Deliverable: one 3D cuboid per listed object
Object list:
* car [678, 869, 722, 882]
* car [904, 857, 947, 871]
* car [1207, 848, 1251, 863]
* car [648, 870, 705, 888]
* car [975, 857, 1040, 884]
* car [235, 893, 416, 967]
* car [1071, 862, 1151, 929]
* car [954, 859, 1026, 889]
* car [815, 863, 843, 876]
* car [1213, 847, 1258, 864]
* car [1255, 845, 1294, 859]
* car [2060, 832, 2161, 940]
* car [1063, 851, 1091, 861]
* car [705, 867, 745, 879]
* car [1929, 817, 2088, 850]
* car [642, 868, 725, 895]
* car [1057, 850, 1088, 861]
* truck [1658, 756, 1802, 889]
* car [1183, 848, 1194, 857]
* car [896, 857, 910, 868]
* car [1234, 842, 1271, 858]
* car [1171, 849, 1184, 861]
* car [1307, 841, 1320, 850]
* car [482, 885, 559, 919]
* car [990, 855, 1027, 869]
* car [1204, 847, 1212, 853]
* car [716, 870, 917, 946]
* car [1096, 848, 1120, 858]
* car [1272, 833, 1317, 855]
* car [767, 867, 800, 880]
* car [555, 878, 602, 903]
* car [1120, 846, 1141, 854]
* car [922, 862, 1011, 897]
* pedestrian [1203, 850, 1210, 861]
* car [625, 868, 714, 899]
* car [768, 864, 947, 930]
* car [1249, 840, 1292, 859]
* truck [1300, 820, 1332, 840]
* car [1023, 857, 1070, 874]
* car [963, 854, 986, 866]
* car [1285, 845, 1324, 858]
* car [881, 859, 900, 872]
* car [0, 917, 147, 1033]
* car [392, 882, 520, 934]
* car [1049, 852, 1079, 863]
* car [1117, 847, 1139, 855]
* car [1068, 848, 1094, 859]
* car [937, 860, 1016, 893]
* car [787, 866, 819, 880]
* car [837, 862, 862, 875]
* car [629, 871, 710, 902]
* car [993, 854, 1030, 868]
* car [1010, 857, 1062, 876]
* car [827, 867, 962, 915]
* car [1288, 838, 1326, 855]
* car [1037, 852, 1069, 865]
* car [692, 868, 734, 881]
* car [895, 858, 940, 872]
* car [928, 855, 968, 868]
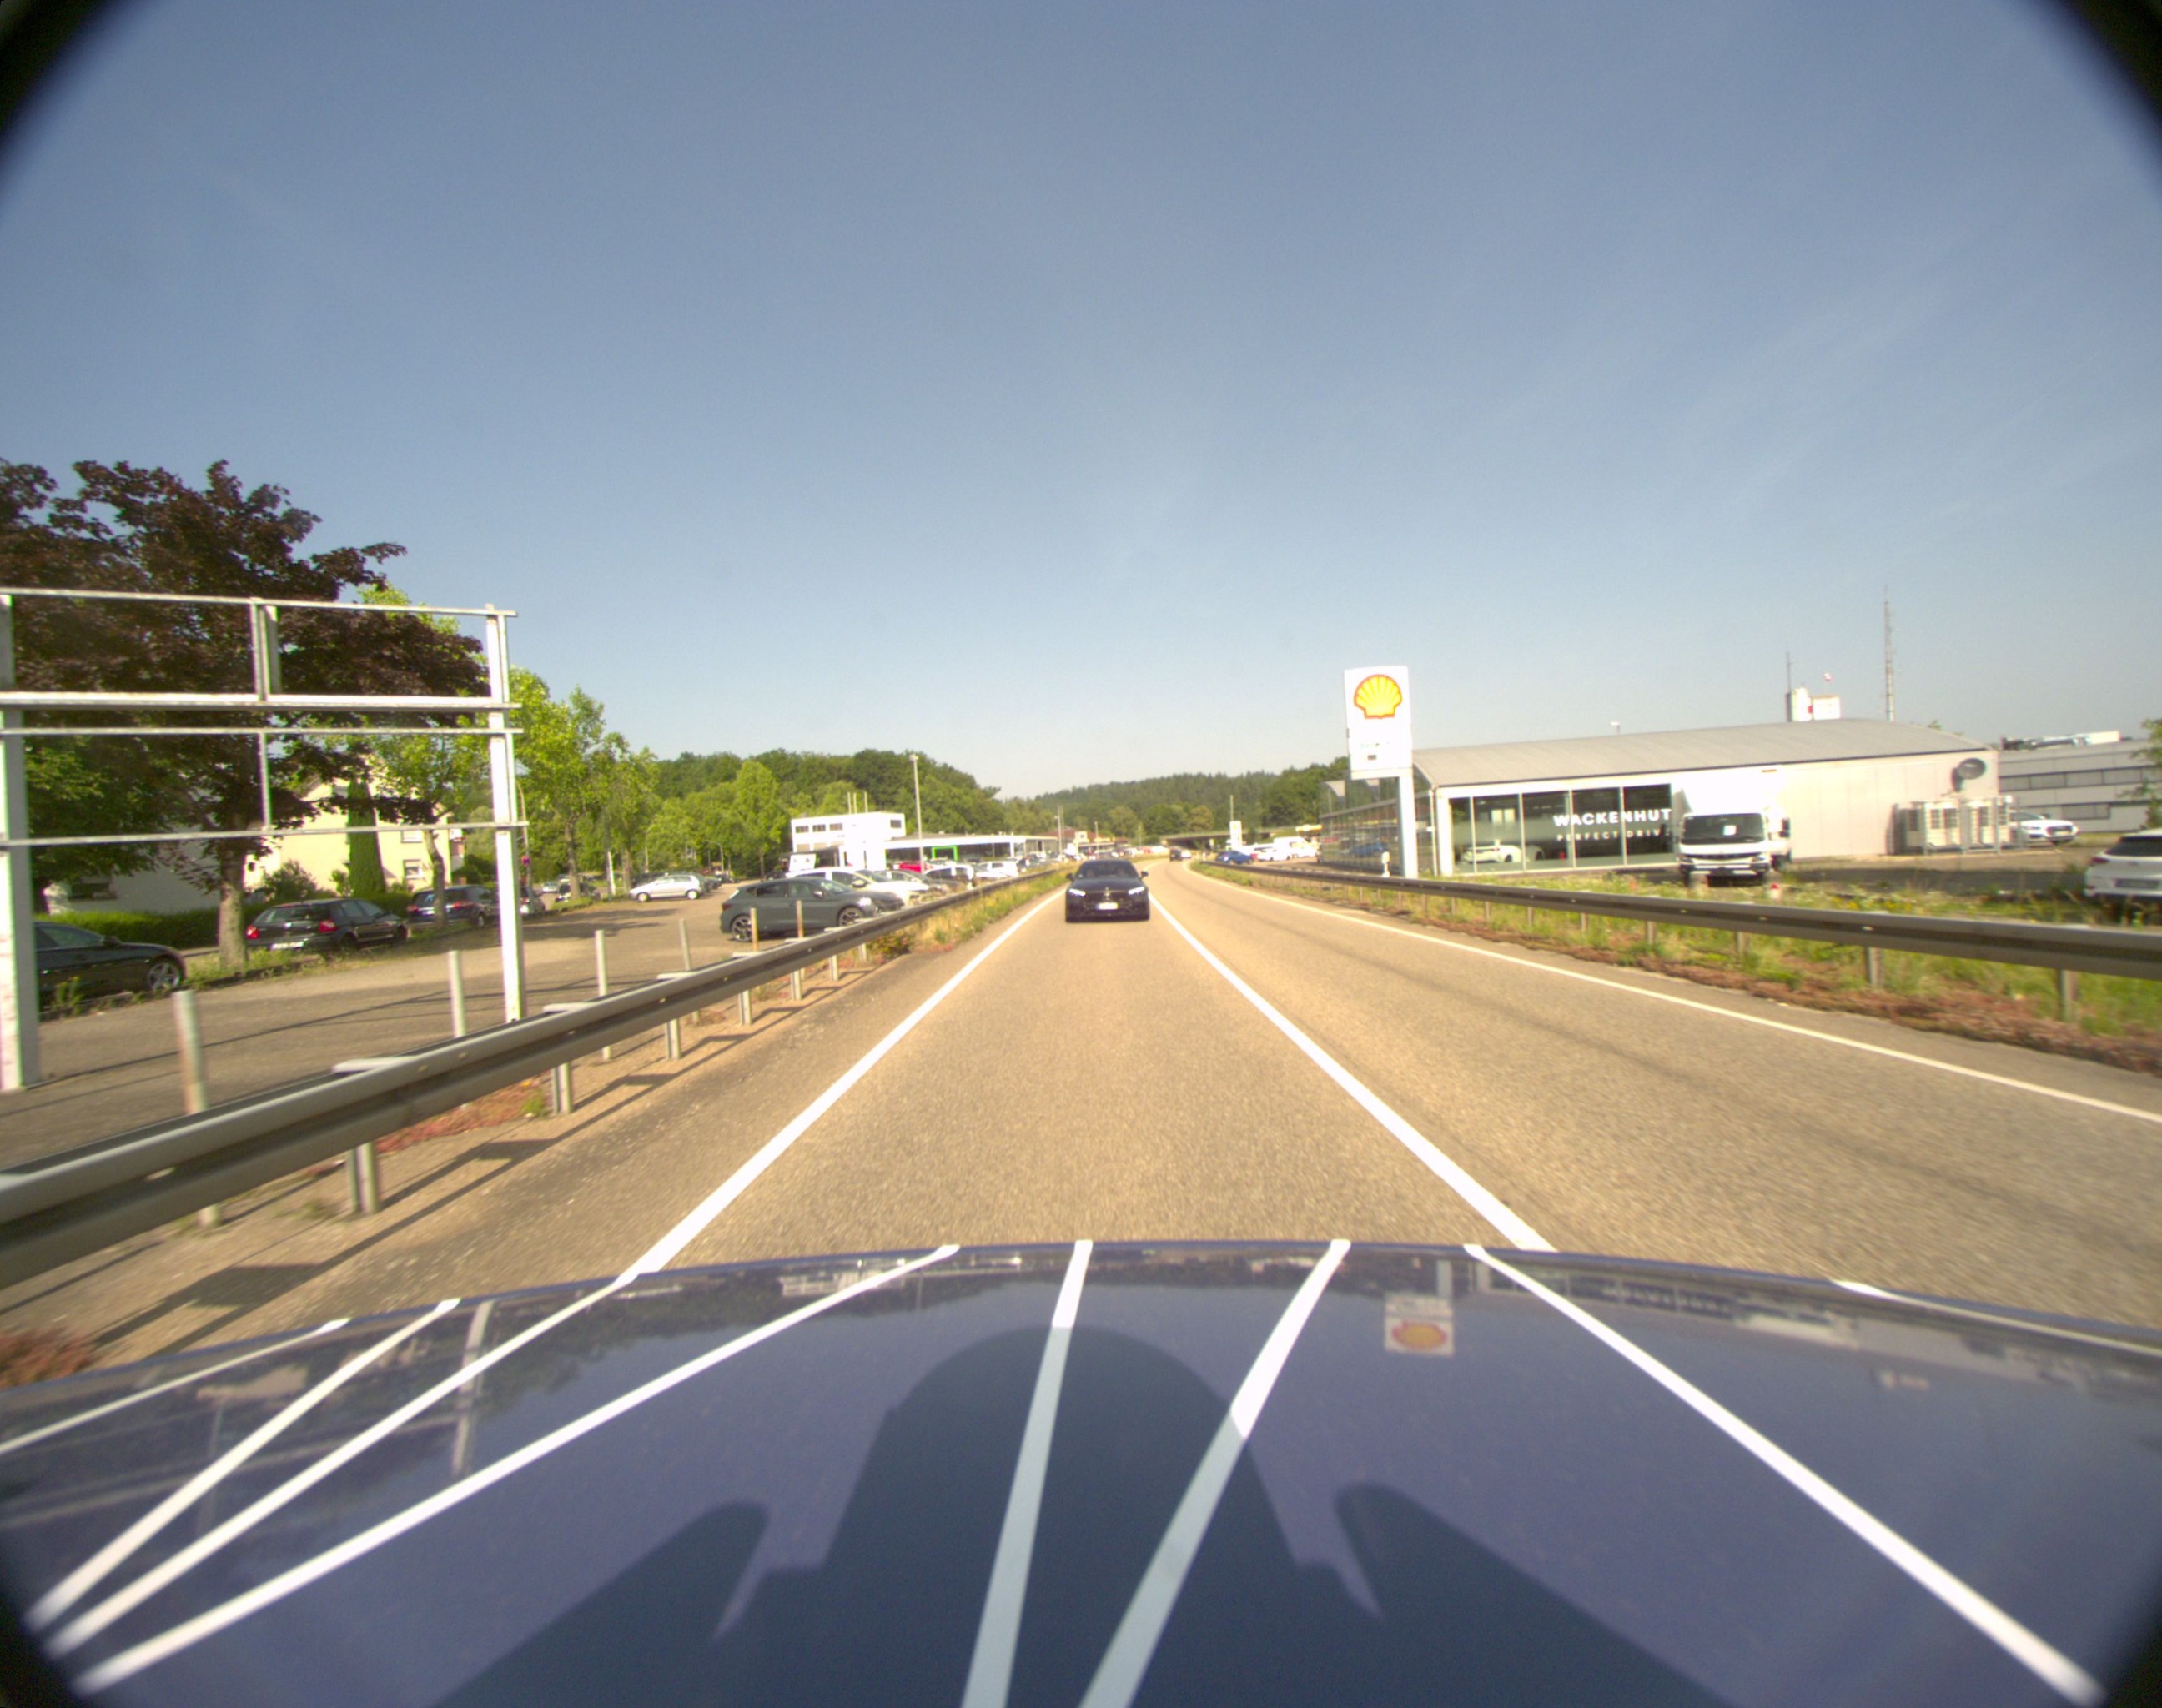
[{"bbox_3d":[-49.706,2.790,99.108,4.751,1.537,1.775,-2,1,-7],"label":"car"},{"bbox_3d":[-18.897,1.174,92.402,4.744,1.556,1.933,-1,1,11],"label":"car"},{"bbox_3d":[15.806,0.179,81.063,4.401,1.359,1.849,-2,0,-32],"label":"car"},{"bbox_3d":[-41.168,2.536,77.430,4.755,1.625,1.928,-2,1,-18],"label":"car"},{"bbox_3d":[-4.931,1.114,51.183,3.995,1.630,1.888,-2,1,5],"label":"car"},{"bbox_3d":[-18.249,1.766,18.594,1.657,1.358,3.656,-3,1,-19],"label":"car"},{"bbox_3d":[0.741,0.926,18.721,1.716,1.382,4.148,-1,0,2],"label":"car"},{"bbox_3d":[-5.398,1.161,45.330,3.997,1.571,1.778,-2,1,1],"label":"car"},{"bbox_3d":[-34.548,2.130,104.375,2.001,1.537,4.611,-1,1,5],"label":"car"},{"bbox_3d":[15.729,0.143,77.304,4.239,1.498,1.980,-2,0,-32],"label":"car"},{"bbox_3d":[22.583,-0.202,88.627,4.237,1.395,1.893,-4,1,-32],"label":"car"},{"bbox_3d":[19.402,0.424,12.424,4.362,1.645,1.931,-3,1,-1],"label":"car"},{"bbox_3d":[-0.669,0.274,120.262,4.040,1.477,1.724,-1,1,17],"label":"car"},{"bbox_3d":[-50.141,2.690,107.081,4.748,1.537,1.776,-2,1,1],"label":"car"},{"bbox_3d":[38.292,-0.822,31.533,1.726,1.193,4.000,-3,0,1],"label":"car"},{"bbox_3d":[-27.190,1.853,52.092,4.636,1.513,1.862,-2,1,-11],"label":"car"},{"bbox_3d":[-1.358,0.268,117.581,4.455,1.591,1.856,-2,1,9],"label":"car"},{"bbox_3d":[20.896,-0.967,24.239,2.799,3.536,8.227,-3,0,45],"label":"truck"},{"bbox_3d":[20.820,-0.315,147.079,1.795,1.620,4.230,-1,1,11],"label":"car"},{"bbox_3d":[-27.056,1.228,115.722,1.791,1.556,4.352,-2,1,-9],"label":"car"},{"bbox_3d":[23.676,-0.533,104.858,4.680,1.847,2.145,-4,0,8],"label":"car"},{"bbox_3d":[15.634,0.124,123.307,1.918,1.874,4.913,-1,1,8],"label":"car"},{"bbox_3d":[45.767,-1.732,149.490,1.716,1.557,4.665,-2,0,27],"label":"car"},{"bbox_3d":[-23.902,2.009,32.534,1.595,1.179,3.656,-3,1,-19],"label":"car"},{"bbox_3d":[-8.655,0.939,91.027,4.165,1.507,1.825,-1,1,5],"label":"car"},{"bbox_3d":[30.706,-0.912,183.631,1.754,1.466,4.290,-1,1,12],"label":"car"},{"bbox_3d":[-6.418,1.294,18.677,4.158,1.474,1.883,-4,1,7],"label":"car"},{"bbox_3d":[4.922,-0.181,139.180,3.992,1.622,1.923,-2,1,18],"label":"car"},{"bbox_3d":[30.545,-1.480,108.844,5.731,2.729,2.287,-4,1,9],"label":"car"},{"bbox_3d":[-39.000,2.569,99.819,1.836,1.537,4.466,-1,1,13],"label":"car"},{"bbox_3d":[-29.033,2.083,44.011,1.596,1.179,3.655,-3,1,-23],"label":"car"},{"bbox_3d":[10.379,-0.782,158.497,4.051,1.608,1.882,-1,1,16],"label":"car"},{"bbox_3d":[-5.592,1.241,37.435,3.995,1.513,1.698,-2,1,5],"label":"car"},{"bbox_3d":[21.434,0.246,129.748,0.848,1.680,1.146,-2,1,28],"label":"pedestrian"},{"bbox_3d":[-25.137,1.782,46.602,4.500,1.591,1.838,-3,1,-19],"label":"car"},{"bbox_3d":[-6.319,1.205,21.732,4.326,1.630,2.142,-2,1,13],"label":"car"},{"bbox_3d":[23.363,-0.591,93.899,4.801,1.970,2.230,-5,0,8],"label":"car"},{"bbox_3d":[53.208,-5.454,171.908,3.055,4.111,16.801,-2,1,30],"label":"truck"},{"bbox_3d":[-3.190,1.055,71.122,4.168,1.482,1.732,-1,1,6],"label":"car"},{"bbox_3d":[-15.158,0.853,107.710,1.934,1.556,4.742,-2,1,-23],"label":"car"},{"bbox_3d":[28.136,-0.343,95.798,4.474,1.390,1.967,-4,0,7],"label":"car"},{"bbox_3d":[-26.094,1.572,104.315,2.003,1.537,4.606,-2,1,-9],"label":"car"},{"bbox_3d":[-15.379,1.723,10.309,1.711,1.397,3.657,-3,0,-19],"label":"car"},{"bbox_3d":[-21.414,1.786,26.276,1.916,1.397,4.517,-3,1,-19],"label":"car"},{"bbox_3d":[-2.413,0.510,110.397,3.993,1.485,1.731,-2,1,12],"label":"car"},{"bbox_3d":[9.641,-0.654,155.445,4.044,1.499,1.808,-1,1,16],"label":"car"},{"bbox_3d":[-0.002,-0.099,122.983,3.883,1.654,1.842,-1,1,17],"label":"car"},{"bbox_3d":[-5.577,1.194,40.778,3.855,1.559,1.807,-2,1,5],"label":"car"},{"bbox_3d":[-36.269,2.448,99.323,1.837,1.537,4.466,-1,1,11],"label":"car"},{"bbox_3d":[-31.696,2.019,104.159,2.002,1.537,4.609,-2,1,0],"label":"car"},{"bbox_3d":[-23.245,1.792,43.085,3.769,1.513,1.654,-3,1,-21],"label":"car"},{"bbox_3d":[-8.556,0.863,93.807,4.100,1.507,1.825,-2,1,9],"label":"car"},{"bbox_3d":[-3.868,1.038,65.277,4.168,1.536,1.741,-1,1,6],"label":"car"},{"bbox_3d":[-6.592,1.307,27.150,4.330,1.435,1.628,-2,1,3],"label":"car"},{"bbox_3d":[29.228,-0.982,98.348,4.389,1.797,2.002,-5,0,8],"label":"car"},{"bbox_3d":[-3.917,0.585,105.486,4.084,1.600,1.793,-2,1,7],"label":"car"},{"bbox_3d":[-50.573,2.823,104.482,4.748,1.537,1.776,-2,1,1],"label":"car"},{"bbox_3d":[-19.270,1.286,89.613,4.744,1.556,1.933,-1,1,11],"label":"car"},{"bbox_3d":[-17.718,1.030,101.336,4.744,1.556,1.933,-1,1,11],"label":"car"}]
